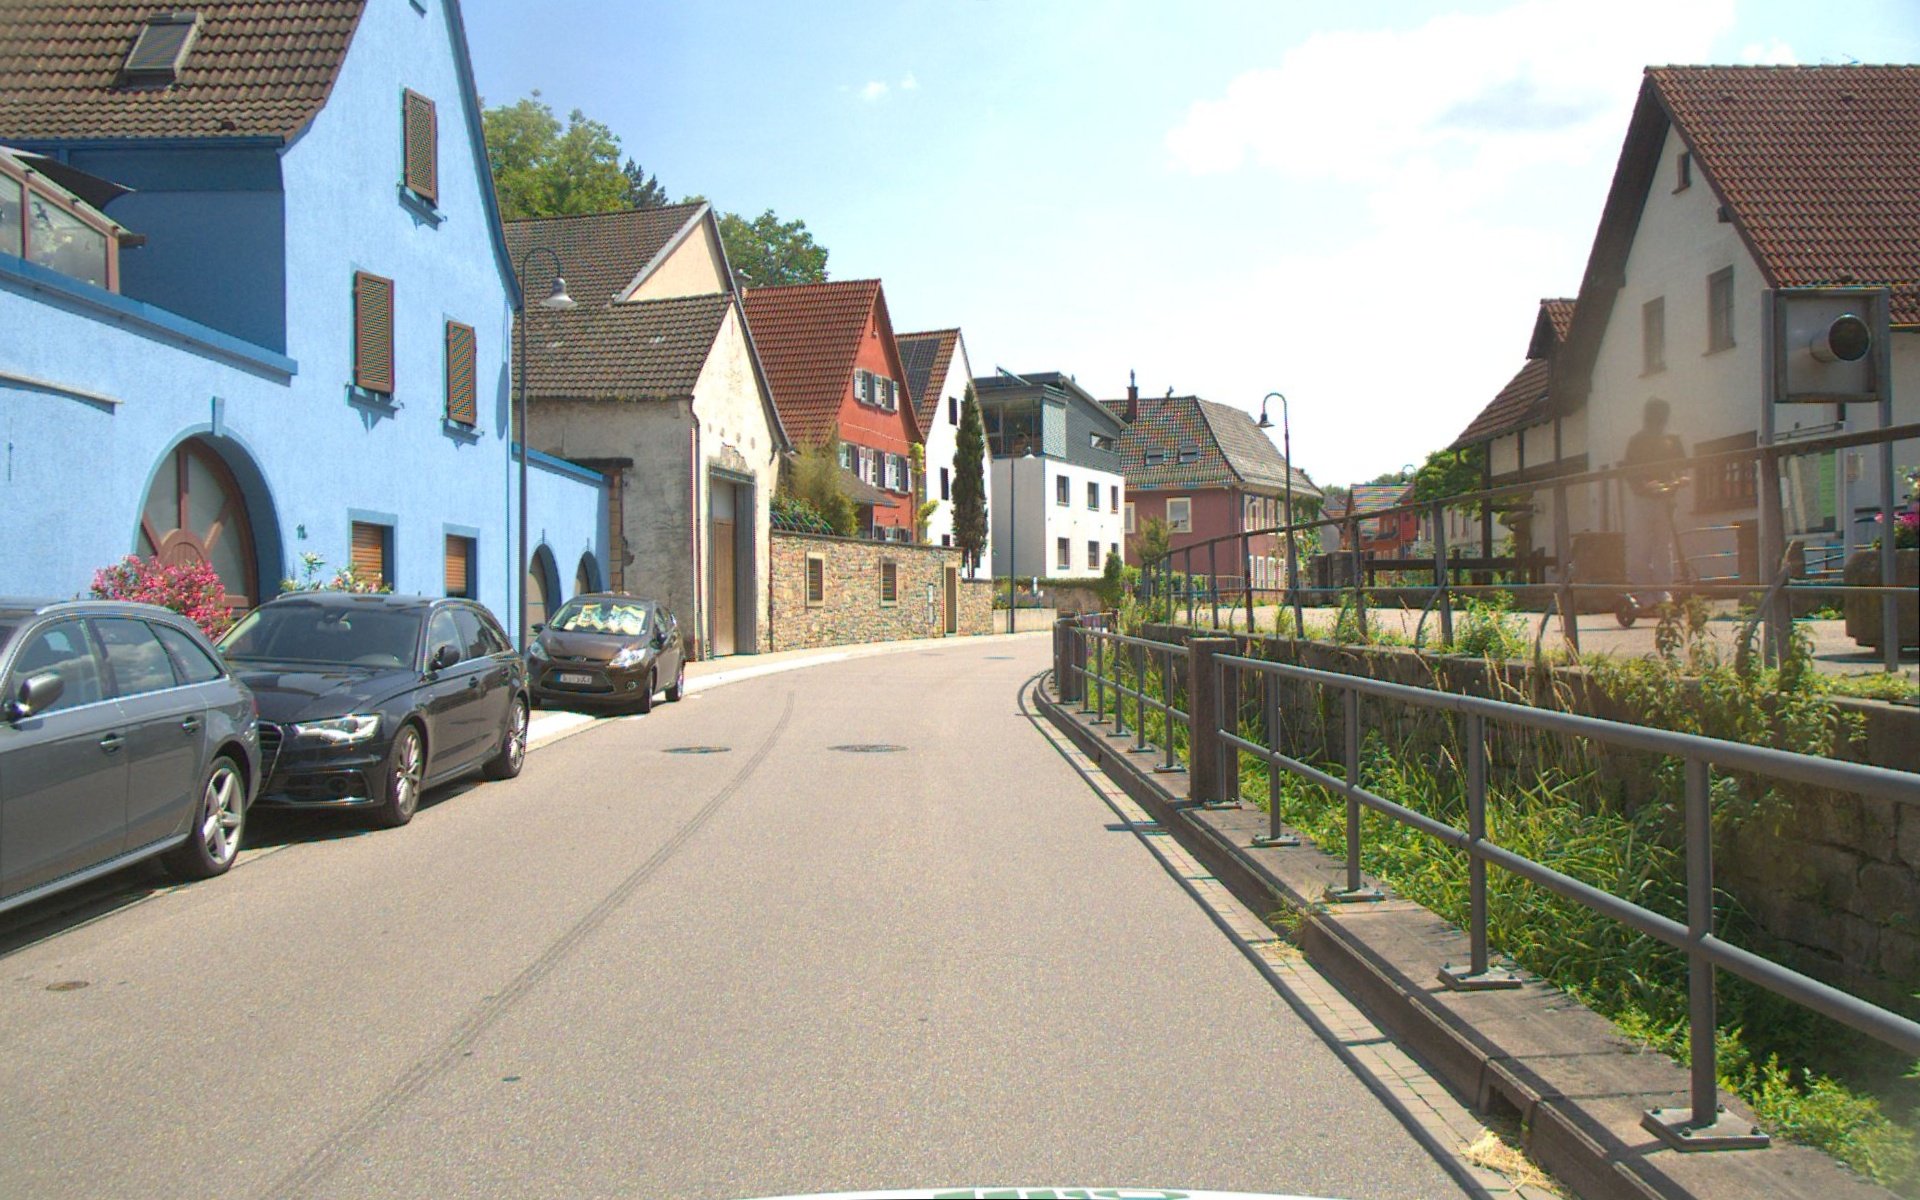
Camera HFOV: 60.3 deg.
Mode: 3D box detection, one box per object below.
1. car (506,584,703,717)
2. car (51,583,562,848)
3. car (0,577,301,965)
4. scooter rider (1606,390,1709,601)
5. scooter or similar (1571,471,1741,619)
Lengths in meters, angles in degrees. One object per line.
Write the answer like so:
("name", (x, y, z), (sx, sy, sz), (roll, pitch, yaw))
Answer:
("car", (-4.721, 0.644, 22.494), (1.682, 1.556, 3.857), (3, 0, 1))
("car", (-4.419, 0.659, 12.103), (1.846, 1.489, 4.668), (2, 1, 0))
("car", (-4.691, 0.671, 7.282), (1.917, 1.491, 4.543), (0, -1, -3))
("scooter rider", (5.925, -0.871, 14.074), (0.628, 1.762, 0.554), (0, -1, -1))
("scooter or similar", (5.897, -0.434, 14.125), (0.628, 1.162, 1.811), (-2, 0, -1))
